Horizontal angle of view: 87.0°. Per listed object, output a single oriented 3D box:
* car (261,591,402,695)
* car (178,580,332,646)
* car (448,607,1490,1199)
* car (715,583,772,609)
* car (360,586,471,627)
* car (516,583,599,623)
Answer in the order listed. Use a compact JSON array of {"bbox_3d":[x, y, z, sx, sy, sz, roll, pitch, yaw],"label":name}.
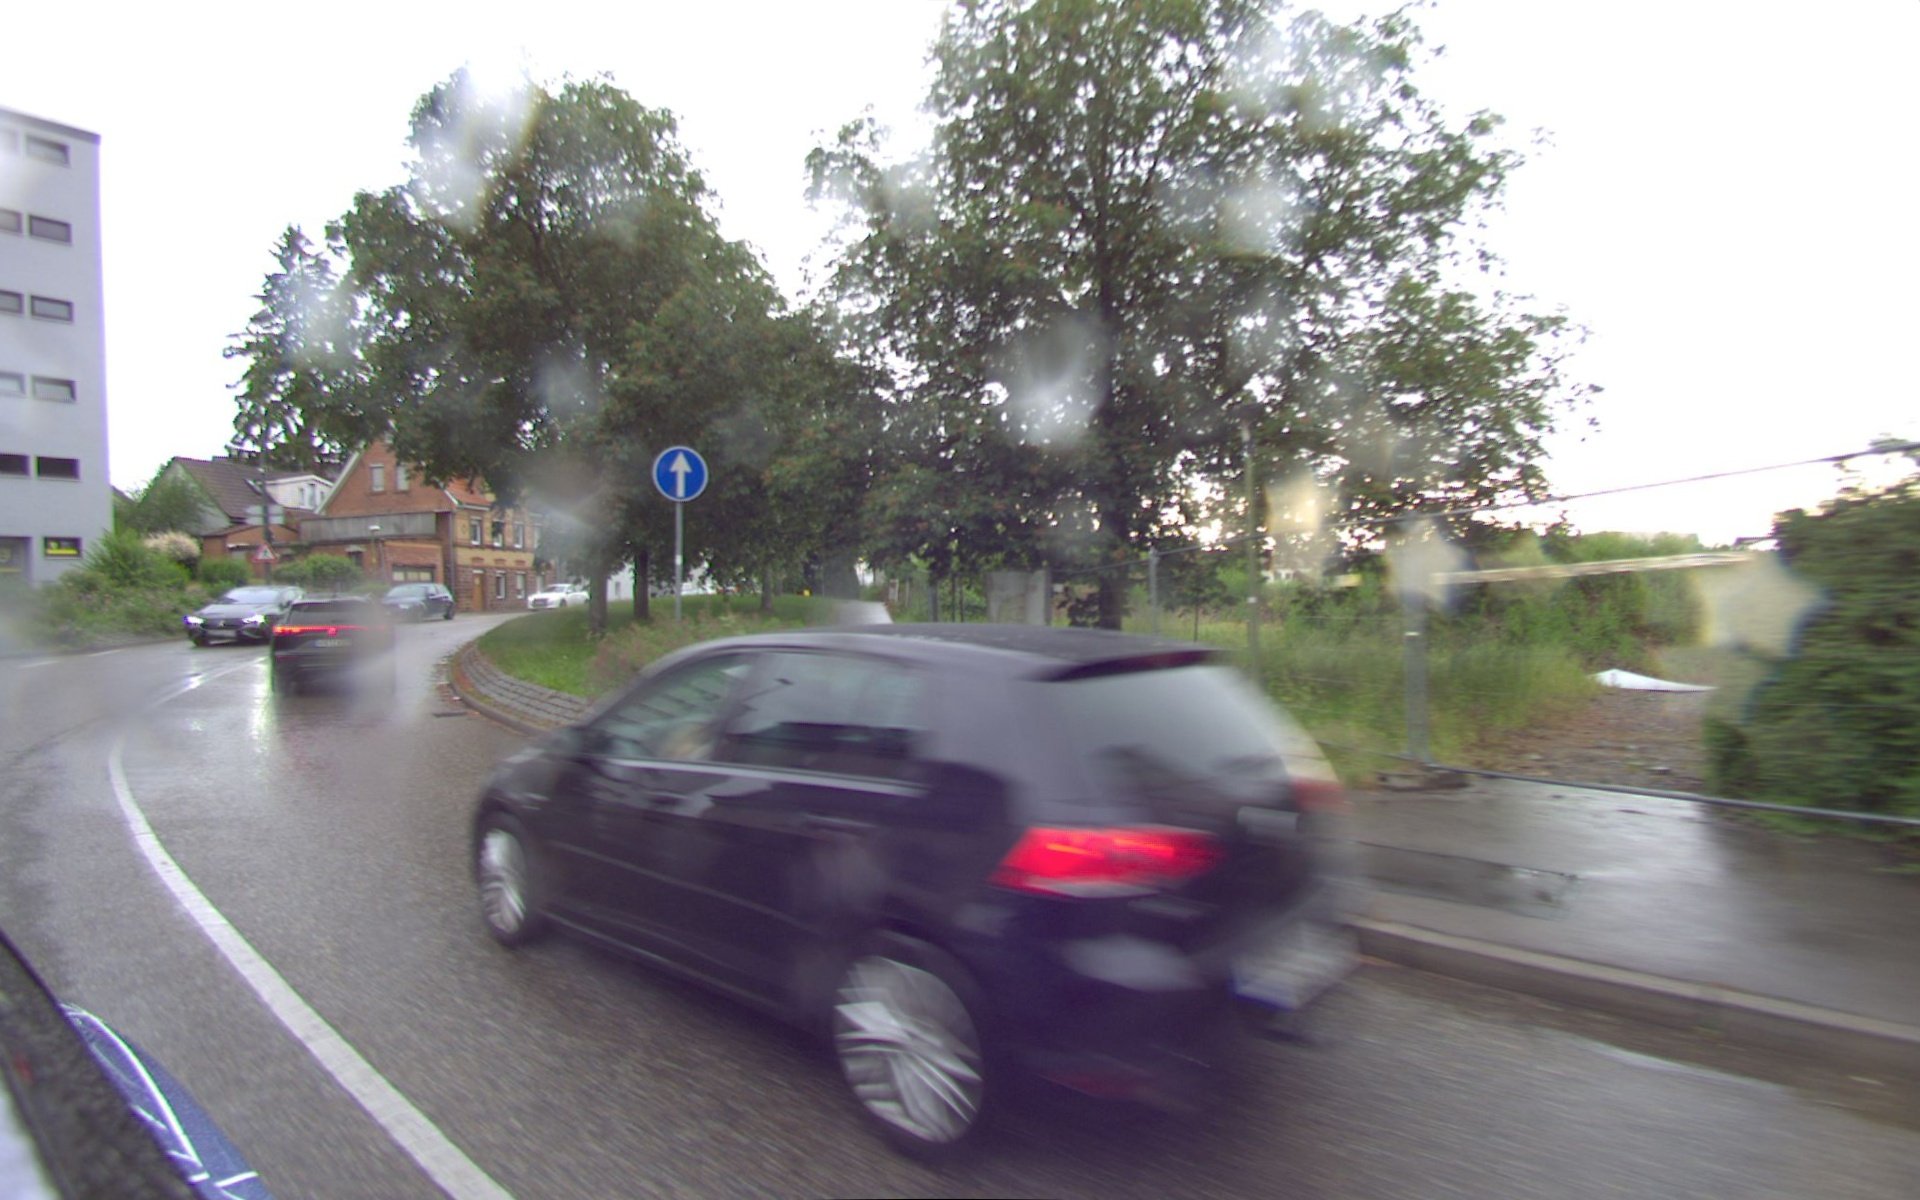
[{"bbox_3d":[-11.183,0.713,17.954,1.868,1.607,4.367,1,-2,-33],"label":"car"},{"bbox_3d":[-19.307,0.430,27.995,1.809,1.525,4.860,-4,-2,-14],"label":"car"},{"bbox_3d":[-0.308,0.747,3.959,3.918,1.412,1.751,-1,-1,42],"label":"car"},{"bbox_3d":[-13.384,-0.261,62.751,1.717,1.554,4.279,1,1,15],"label":"car"},{"bbox_3d":[-20.390,0.213,38.178,1.765,1.357,4.949,-3,1,-4],"label":"car"},{"bbox_3d":[-21.036,0.200,53.116,1.880,1.672,4.931,-4,-5,8],"label":"car"}]
